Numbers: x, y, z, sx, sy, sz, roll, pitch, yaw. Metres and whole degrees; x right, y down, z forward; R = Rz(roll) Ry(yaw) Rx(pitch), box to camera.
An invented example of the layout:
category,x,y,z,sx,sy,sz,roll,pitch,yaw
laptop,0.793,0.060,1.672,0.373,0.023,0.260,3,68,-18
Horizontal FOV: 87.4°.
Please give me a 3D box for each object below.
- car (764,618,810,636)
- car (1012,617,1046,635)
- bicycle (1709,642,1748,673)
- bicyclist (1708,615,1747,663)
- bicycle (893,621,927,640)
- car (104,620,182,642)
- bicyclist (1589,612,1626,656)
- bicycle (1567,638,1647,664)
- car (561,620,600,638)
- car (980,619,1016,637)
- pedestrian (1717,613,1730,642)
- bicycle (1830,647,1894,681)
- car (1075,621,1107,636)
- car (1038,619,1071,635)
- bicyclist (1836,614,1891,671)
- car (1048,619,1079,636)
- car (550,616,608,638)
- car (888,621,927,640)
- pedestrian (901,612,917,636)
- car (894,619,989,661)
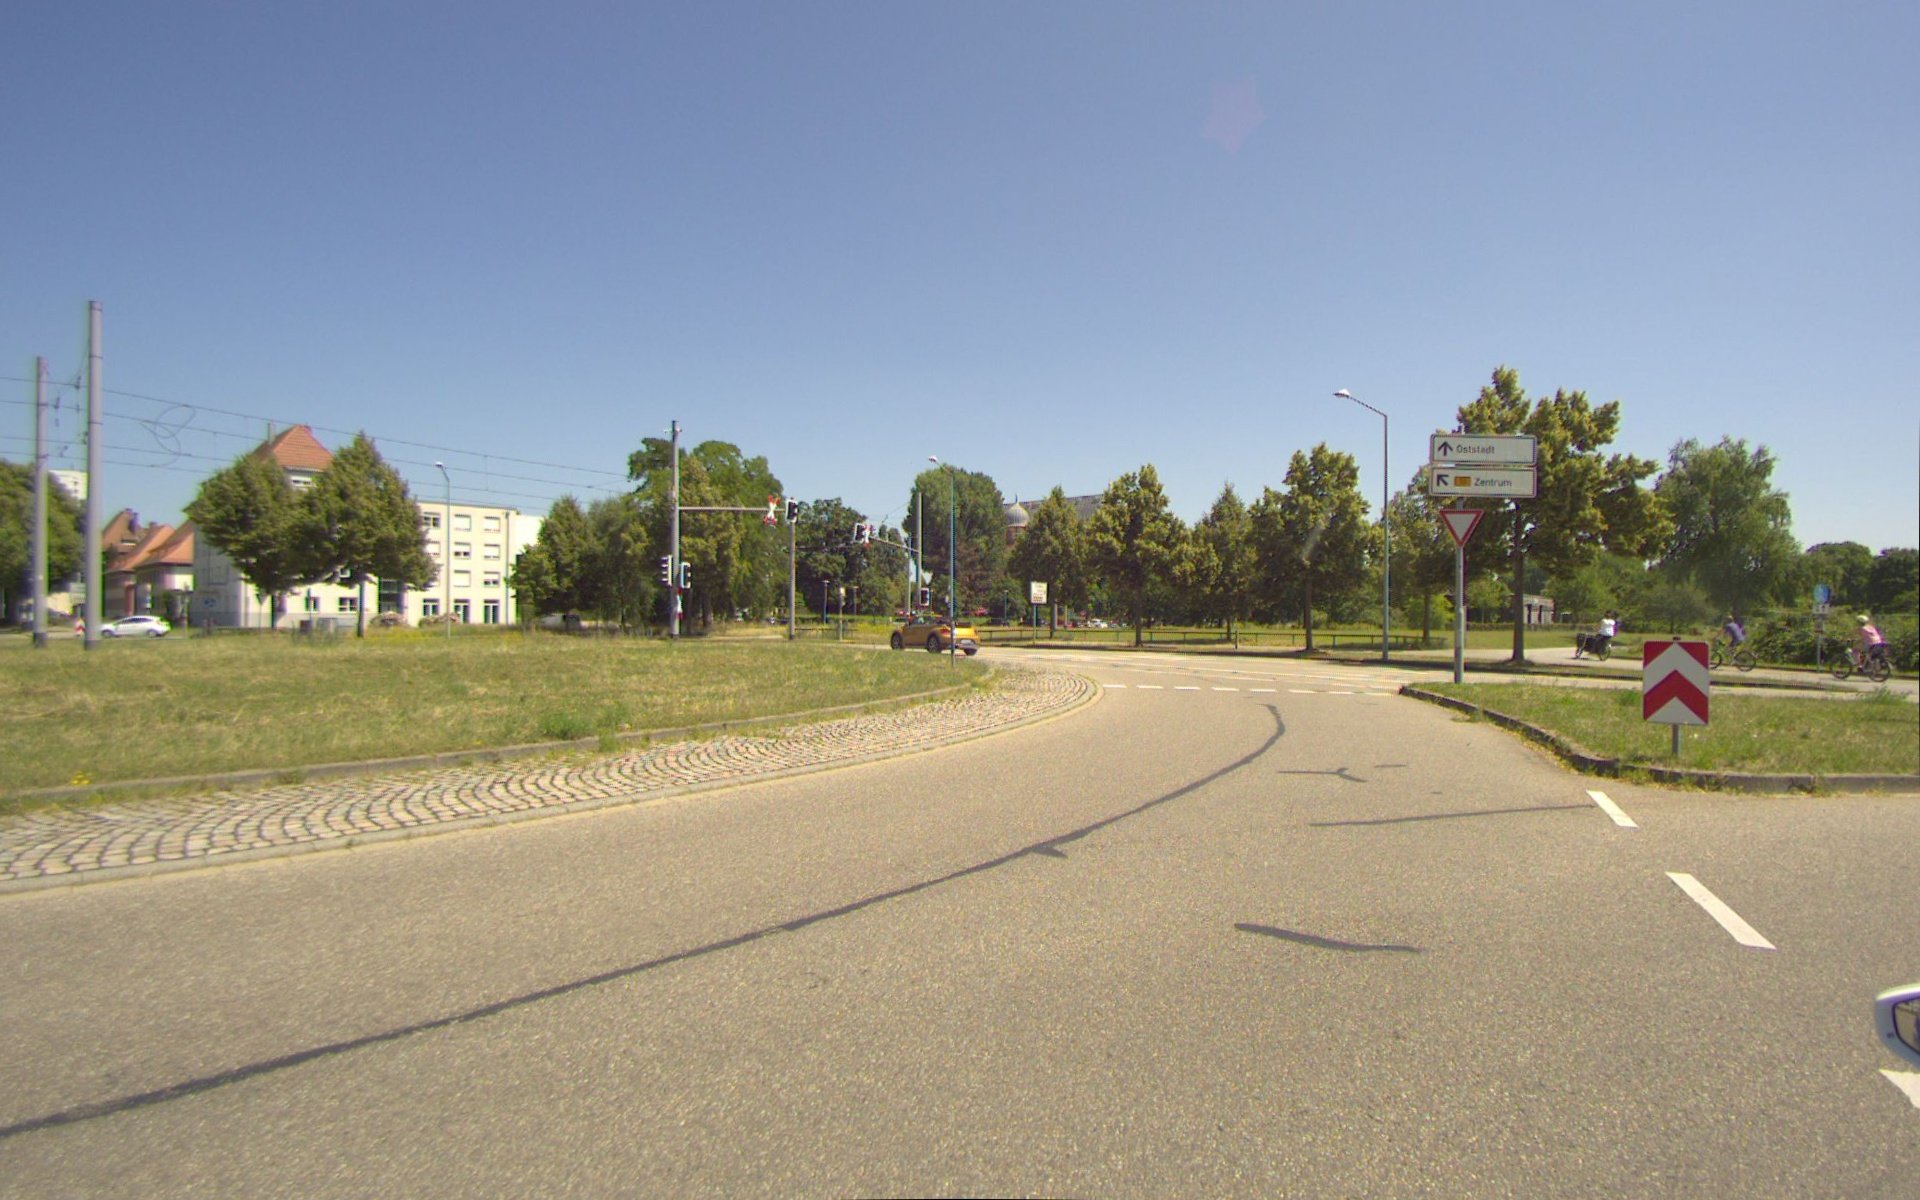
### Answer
category,x,y,z,sx,sy,sz,roll,pitch,yaw
car,-16.739,2.633,97.078,3.919,1.594,2.002,1,-2,9
car,8.521,3.218,124.557,3.919,2.040,2.002,1,-2,12
bicycle,25.592,1.902,33.473,0.883,0.912,1.757,1,1,34
bicyclist,25.588,1.290,33.497,0.944,1.552,1.182,0,0,34
bicycle,-3.191,1.926,63.851,2.017,1.129,0.730,1,-2,15
car,-56.563,2.175,69.601,3.852,1.438,1.704,2,-2,-28
bicyclist,24.816,1.315,38.504,0.743,1.635,0.976,2,-2,-11
bicycle,24.787,1.945,38.560,0.728,0.924,2.922,2,-2,-14
car,-43.996,3.358,116.524,3.931,2.040,1.996,2,-2,-12
car,4.574,3.375,120.322,3.919,2.040,2.002,1,-2,12
pedestrian,47.031,1.712,61.866,0.670,1.753,0.567,3,-3,-44
bicycle,26.622,1.884,29.693,0.882,0.912,2.223,1,-1,28
car,17.728,3.851,135.456,3.921,2.040,2.001,0,-2,19
car,12.122,3.469,128.926,3.919,2.040,2.002,1,-2,12
bicyclist,26.597,1.244,29.590,0.942,1.631,1.184,0,-2,28
car,13.553,3.599,131.389,3.919,2.040,2.002,1,-2,12
car,-30.937,2.197,81.616,3.967,1.706,1.977,3,-3,-40
car,-5.734,3.335,110.014,3.919,2.040,2.002,1,-2,12
pedestrian,-3.233,1.531,63.879,0.802,1.469,0.710,1,-2,16
car,-0.714,1.443,36.508,1.812,1.421,3.629,2,-2,-32
